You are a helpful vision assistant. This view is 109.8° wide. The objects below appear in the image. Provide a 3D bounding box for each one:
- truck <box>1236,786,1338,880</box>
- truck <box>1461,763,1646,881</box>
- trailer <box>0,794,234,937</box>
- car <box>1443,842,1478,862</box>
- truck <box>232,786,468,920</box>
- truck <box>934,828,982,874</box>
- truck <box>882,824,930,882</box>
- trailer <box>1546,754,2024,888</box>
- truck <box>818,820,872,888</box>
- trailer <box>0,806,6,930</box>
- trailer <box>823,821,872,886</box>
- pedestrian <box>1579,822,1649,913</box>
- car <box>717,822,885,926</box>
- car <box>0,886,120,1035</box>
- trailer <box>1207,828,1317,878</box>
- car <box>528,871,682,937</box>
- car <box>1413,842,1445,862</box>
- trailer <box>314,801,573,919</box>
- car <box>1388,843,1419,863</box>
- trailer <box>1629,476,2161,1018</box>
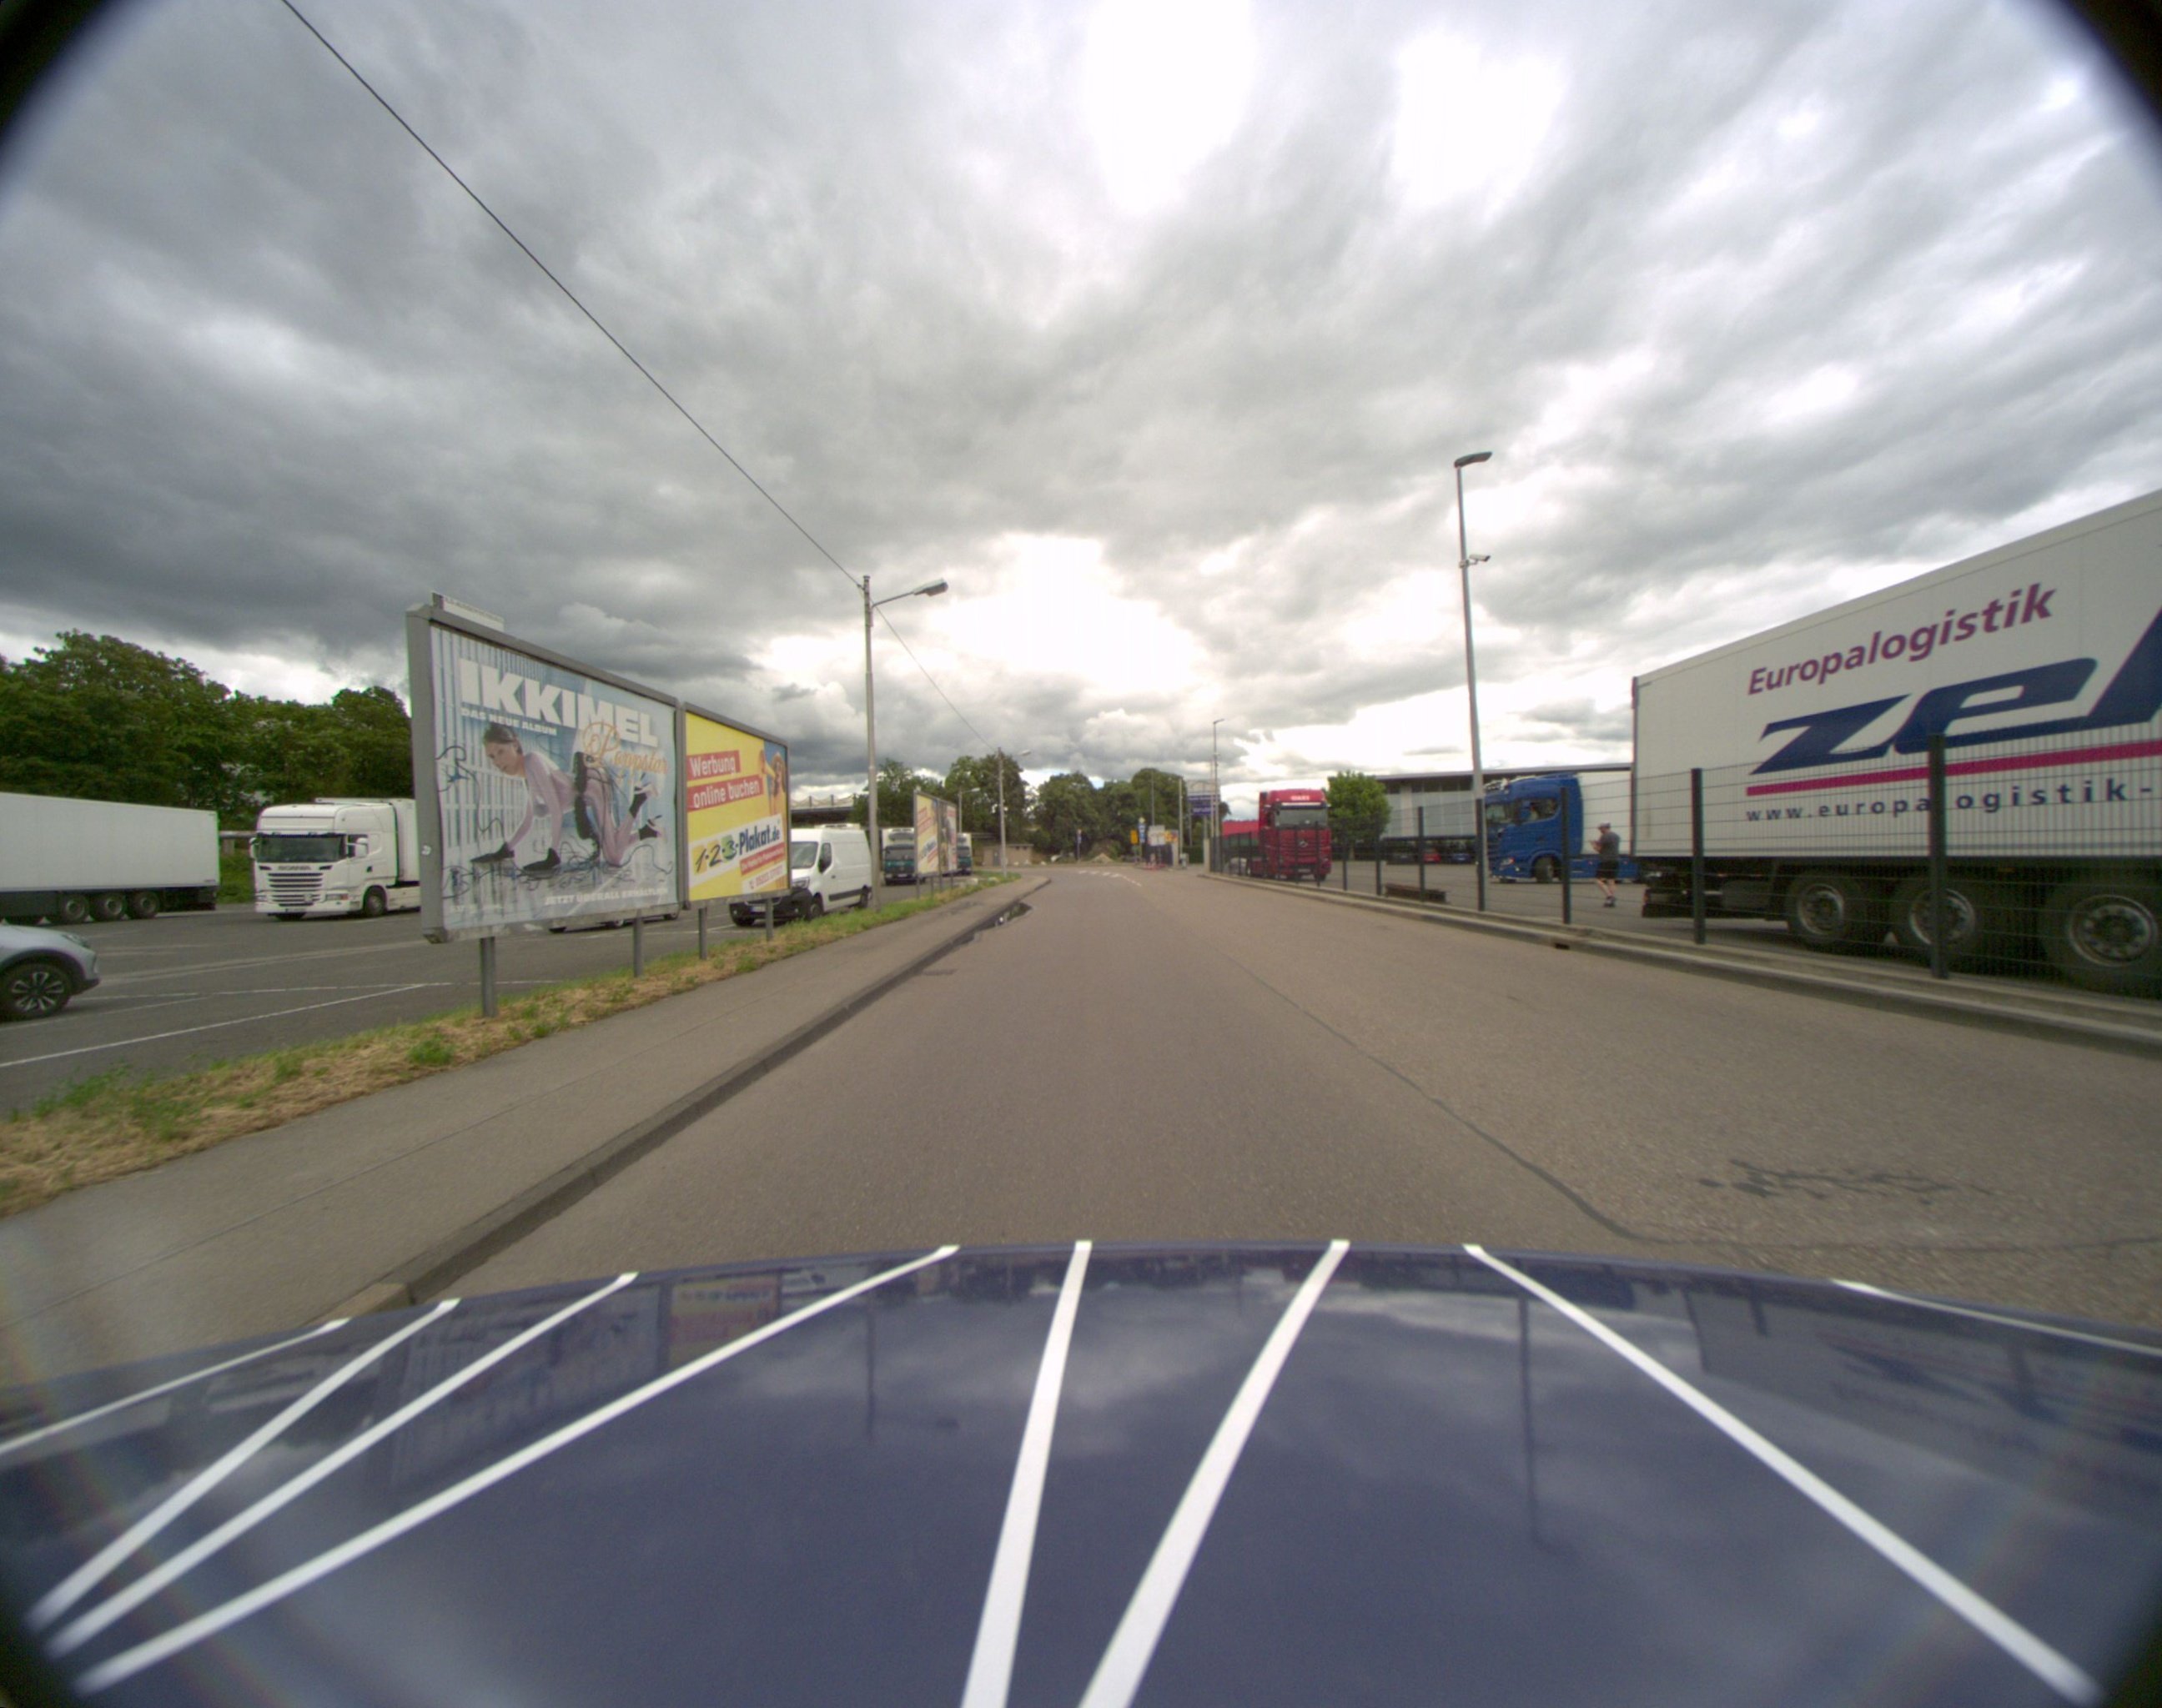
[{"bbox_3d":[8.965,-0.867,33.757,3.021,3.827,5.670,0,1,1],"label":"truck"},{"bbox_3d":[17.291,-1.143,28.110,4.878,4.109,3.048,0,1,1],"label":"truck"},{"bbox_3d":[-32.669,0.336,23.387,2.617,4.071,12.426,0,0,-16],"label":"trailer"},{"bbox_3d":[34.144,-0.205,68.504,1.996,1.707,4.004,-1,0,14],"label":"car"},{"bbox_3d":[-25.114,-0.025,26.695,2.876,4.071,6.749,0,0,-13],"label":"truck"},{"bbox_3d":[-10.945,-0.261,66.876,2.832,3.690,9.090,-2,0,-17],"label":"truck"},{"bbox_3d":[-11.775,-0.092,50.860,2.876,3.609,6.748,0,0,-14],"label":"truck"},{"bbox_3d":[23.626,-1.063,26.670,12.020,4.109,3.052,1,1,19],"label":"trailer"},{"bbox_3d":[-14.828,0.014,48.157,2.876,3.990,6.748,0,0,-14],"label":"truck"},{"bbox_3d":[-35.019,0.458,18.728,2.617,4.071,12.426,0,0,-16],"label":"trailer"},{"bbox_3d":[-16.552,-0.024,54.545,2.841,4.071,13.378,0,0,-15],"label":"trailer"},{"bbox_3d":[11.098,0.274,15.844,0.804,1.809,0.880,-2,1,-2],"label":"pedestrian"},{"bbox_3d":[-7.346,0.456,20.831,2.091,2.401,6.084,-1,0,2],"label":"car"},{"bbox_3d":[-12.602,1.230,7.209,1.769,1.562,4.000,-4,0,0],"label":"car"},{"bbox_3d":[9.027,-0.098,39.674,3.046,2.179,12.047,0,0,1],"label":"trailer"},{"bbox_3d":[-12.831,1.290,20.793,1.497,1.486,4.053,-2,0,2],"label":"car"},{"bbox_3d":[31.828,-0.222,69.583,1.996,1.707,4.004,-1,0,14],"label":"car"},{"bbox_3d":[-26.577,0.221,33.048,2.841,4.071,13.380,0,0,-13],"label":"trailer"},{"bbox_3d":[29.357,-0.108,69.257,1.996,1.707,4.004,-1,0,14],"label":"car"},{"bbox_3d":[9.877,-0.804,5.012,3.366,4.136,13.852,0,0,4],"label":"trailer"}]
